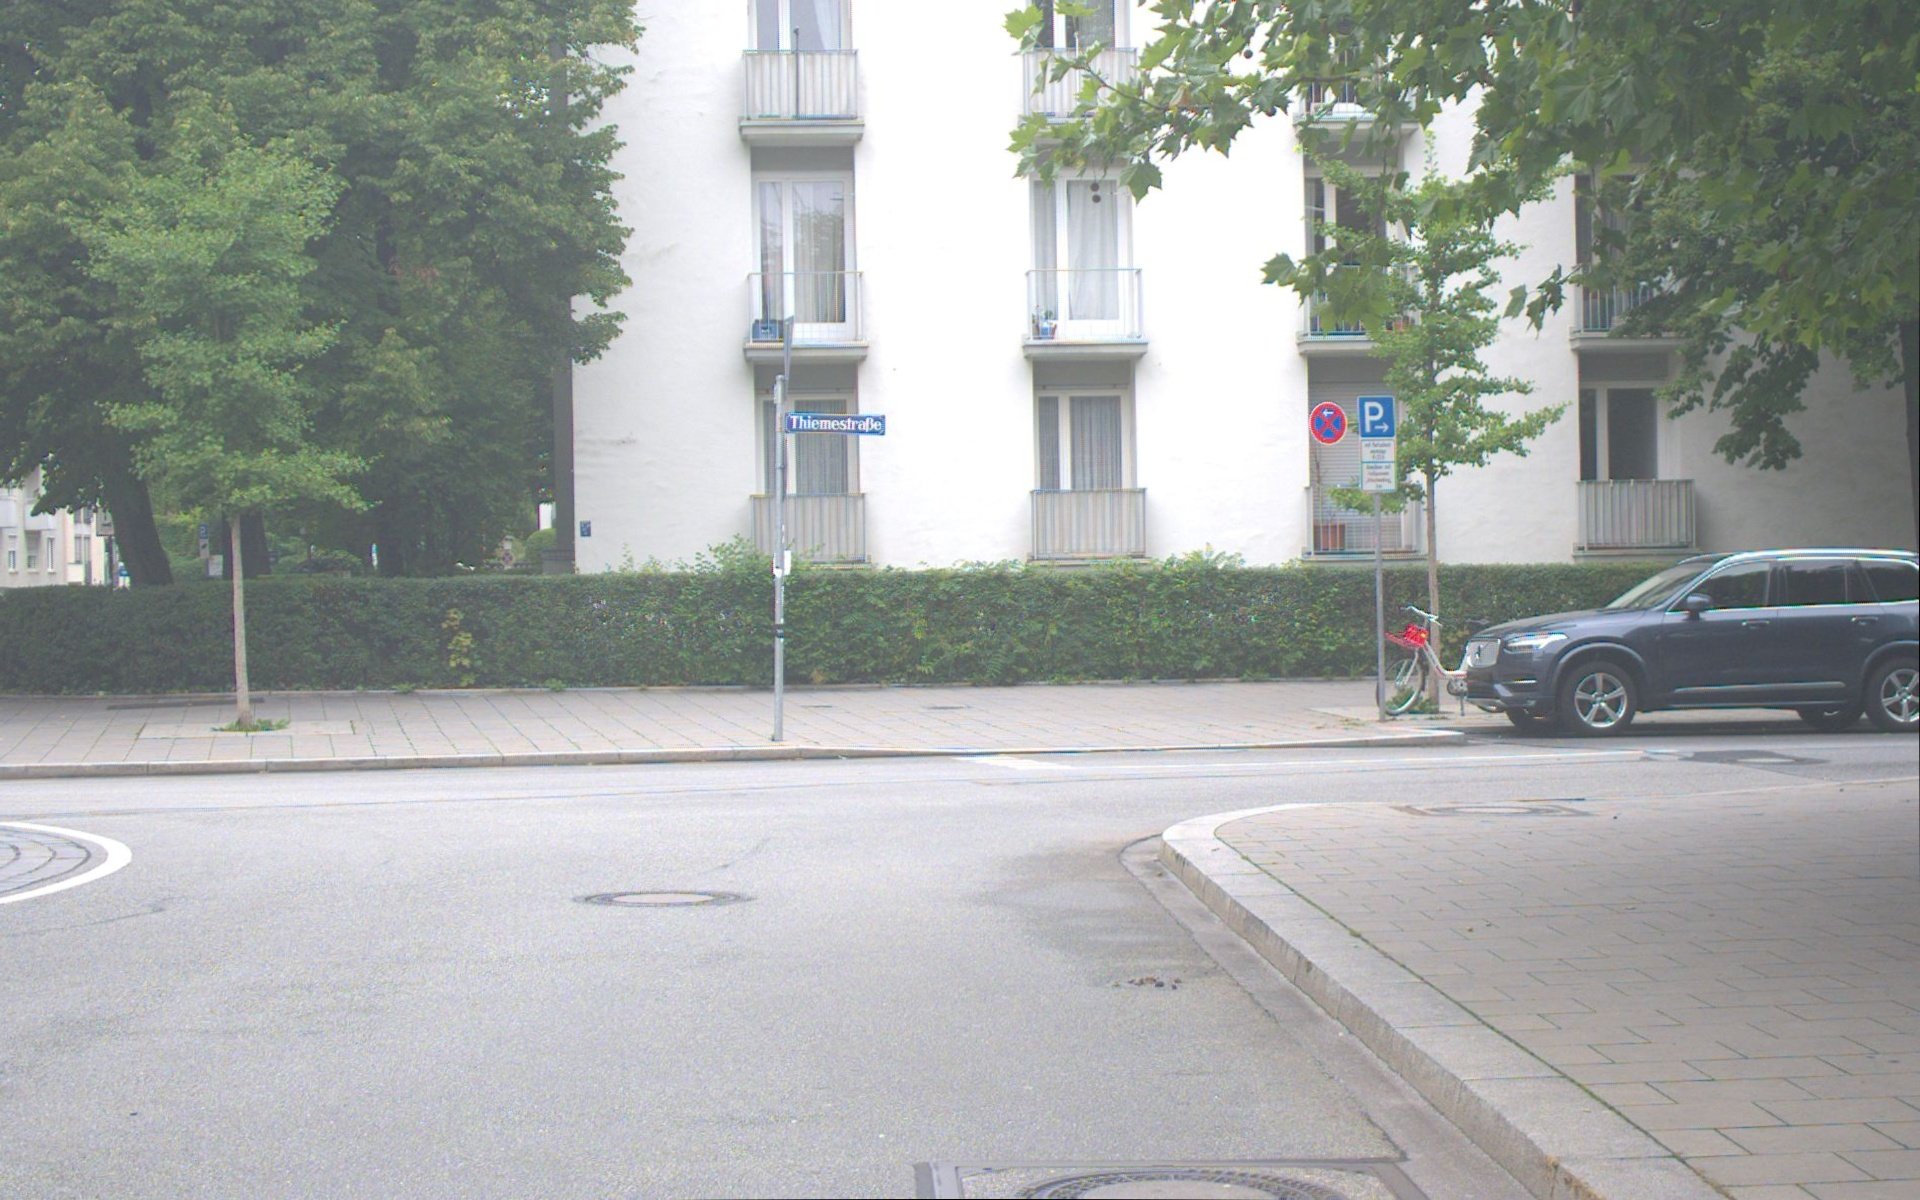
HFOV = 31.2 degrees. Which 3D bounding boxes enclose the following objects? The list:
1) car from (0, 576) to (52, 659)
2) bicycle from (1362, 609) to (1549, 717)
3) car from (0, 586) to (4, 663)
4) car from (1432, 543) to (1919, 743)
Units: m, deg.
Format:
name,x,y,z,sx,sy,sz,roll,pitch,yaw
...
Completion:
name,x,y,z,sx,sy,sz,roll,pitch,yaw
car,-19.883,0.361,70.112,1.835,1.629,4.116,-2,1,-4
bicycle,5.051,0.636,35.048,1.824,1.045,0.492,-1,1,-15
car,-19.479,0.529,65.516,1.835,1.500,4.116,-2,1,-8
car,7.176,0.394,32.783,4.896,1.786,2.000,-1,-1,-9
